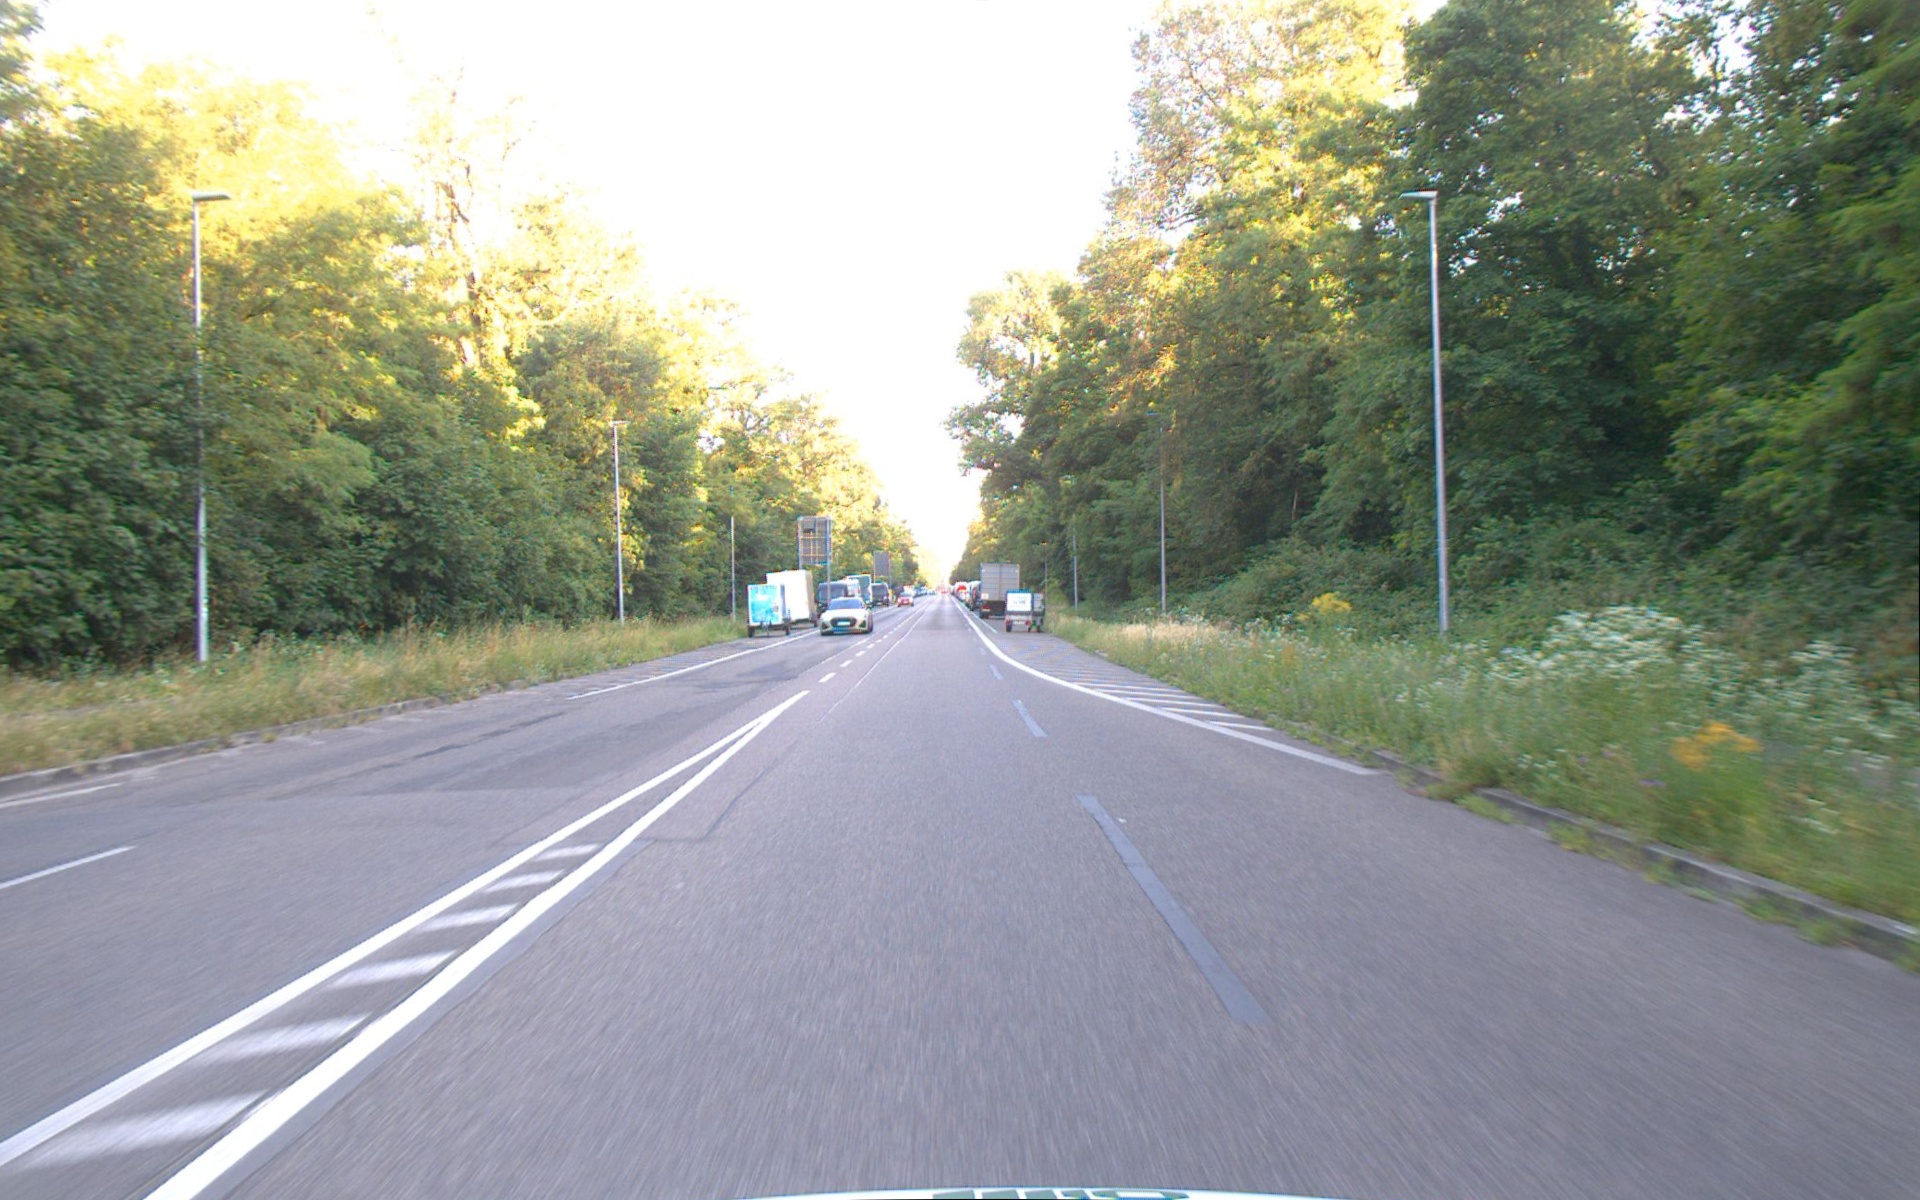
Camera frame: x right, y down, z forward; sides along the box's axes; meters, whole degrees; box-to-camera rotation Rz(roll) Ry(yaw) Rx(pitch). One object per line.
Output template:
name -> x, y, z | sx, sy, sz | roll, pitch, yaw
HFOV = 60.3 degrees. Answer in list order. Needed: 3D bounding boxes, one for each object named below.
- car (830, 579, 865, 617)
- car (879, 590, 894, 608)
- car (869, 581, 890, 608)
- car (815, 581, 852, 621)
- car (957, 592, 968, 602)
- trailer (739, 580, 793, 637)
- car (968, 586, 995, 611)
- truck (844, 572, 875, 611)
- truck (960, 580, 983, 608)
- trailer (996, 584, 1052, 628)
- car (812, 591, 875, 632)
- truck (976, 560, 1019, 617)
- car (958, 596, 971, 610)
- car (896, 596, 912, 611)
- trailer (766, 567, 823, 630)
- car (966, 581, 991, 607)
car -> -8.579, -0.174, 126.434 | 2.203, 2.693, 5.720 | -2, 0, -1
car -> -9.216, -0.154, 208.213 | 1.665, 2.048, 3.999 | -4, 1, -1
car -> -9.069, -0.643, 186.647 | 2.142, 2.837, 5.333 | -2, 0, -1
car -> -8.293, 0.035, 108.821 | 1.953, 2.405, 5.765 | -4, 0, -1
car -> 0.391, -0.420, 231.891 | 1.398, 1.243, 3.411 | -2, 0, -1
trailer -> -7.928, 0.331, 67.973 | 1.780, 2.205, 4.141 | -2, 0, -2
car -> 1.706, -0.121, 134.217 | 1.954, 1.989, 4.297 | 0, 0, -3
truck -> -9.218, -0.756, 151.999 | 2.453, 3.387, 6.840 | -2, 0, -1
truck -> 1.122, -0.609, 166.335 | 2.099, 2.706, 4.297 | 0, 0, -3
trailer -> 2.635, 0.226, 67.690 | 1.425, 1.691, 3.780 | -2, 0, 15
car -> -4.688, 0.450, 67.123 | 2.021, 1.460, 4.467 | -4, 1, 2
truck -> 2.245, -0.673, 100.319 | 2.535, 3.312, 7.221 | 0, 0, 1
car -> 0.434, 0.311, 172.944 | 1.125, 1.273, 2.752 | -6, 1, -3
car -> -5.963, 0.360, 176.619 | 1.649, 1.512, 4.036 | -2, 0, -2
trailer -> -8.325, -0.084, 83.578 | 2.279, 2.975, 5.625 | -3, 0, -1
car -> 1.693, -0.581, 153.482 | 2.099, 2.354, 4.297 | 0, 0, -3
